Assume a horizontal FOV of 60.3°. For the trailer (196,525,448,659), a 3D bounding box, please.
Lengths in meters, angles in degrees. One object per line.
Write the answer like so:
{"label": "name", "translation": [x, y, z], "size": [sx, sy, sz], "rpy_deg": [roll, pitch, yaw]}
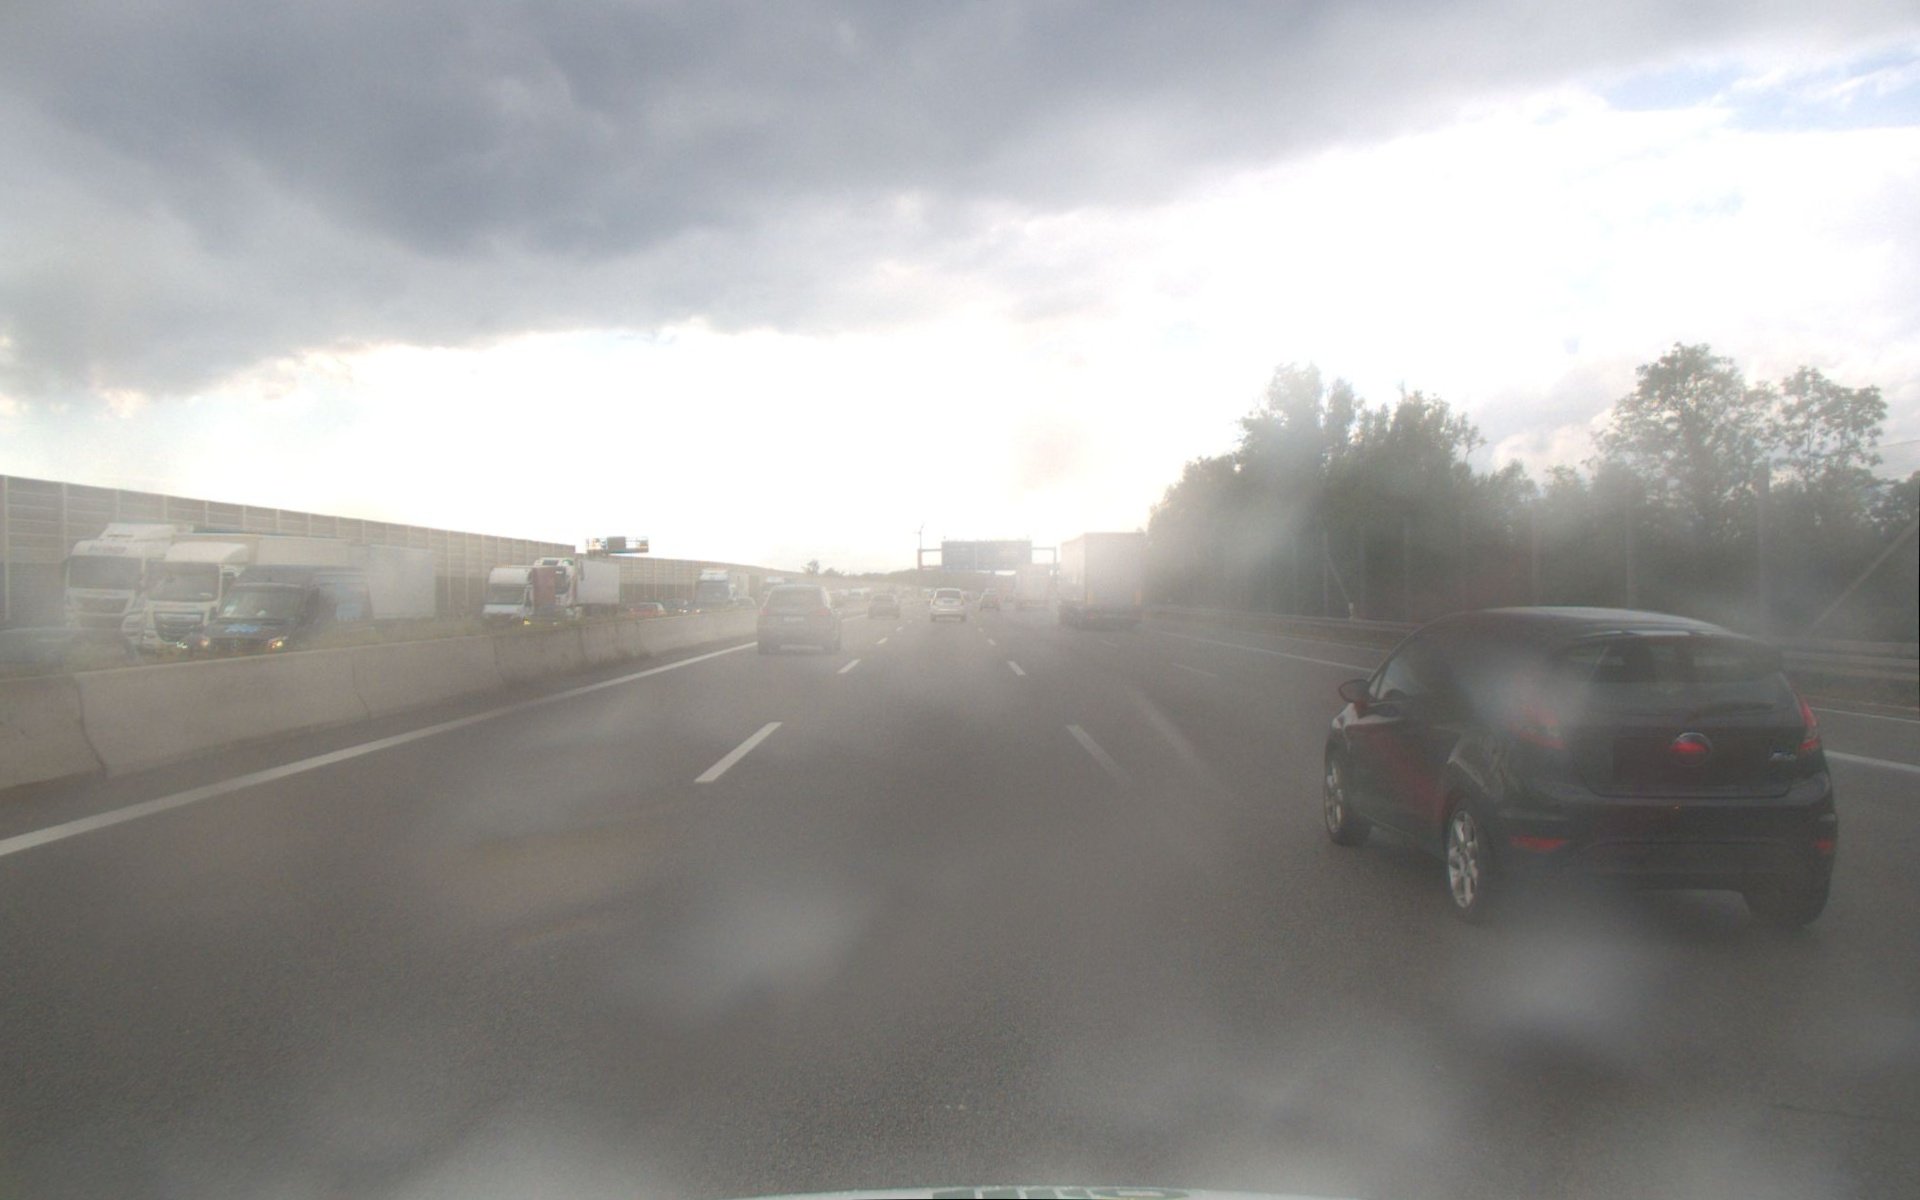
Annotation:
{"label": "trailer", "translation": [-21.775, -0.296, 57.922], "size": [3.016, 4.003, 14.981], "rpy_deg": [1, 0, 0]}

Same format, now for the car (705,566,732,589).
{"label": "car", "translation": [-22.211, -2.049, 152.228], "size": [1.953, 2.049, 3.999], "rpy_deg": [1, 0, -1]}

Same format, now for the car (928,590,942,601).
{"label": "car", "translation": [-3.518, -0.668, 229.255], "size": [1.737, 1.466, 3.871], "rpy_deg": [1, 1, -4]}

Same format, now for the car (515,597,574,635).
{"label": "car", "translation": [-18.097, 0.680, 72.231], "size": [1.629, 1.561, 3.887], "rpy_deg": [1, 0, -1]}

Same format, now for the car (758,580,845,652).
{"label": "car", "translation": [-3.992, 0.372, 42.333], "size": [1.870, 1.720, 5.167], "rpy_deg": [0, 0, -2]}

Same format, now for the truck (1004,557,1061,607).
{"label": "truck", "translation": [6.485, -1.642, 149.986], "size": [4.158, 4.249, 11.984], "rpy_deg": [1, 0, -2]}

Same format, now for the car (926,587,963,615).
{"label": "car", "translation": [-0.851, 0.048, 89.149], "size": [1.737, 1.466, 4.052], "rpy_deg": [1, 1, -4]}

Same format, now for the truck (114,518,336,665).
{"label": "truck", "translation": [-21.752, -0.258, 49.591], "size": [3.016, 4.003, 8.053], "rpy_deg": [1, 0, 0]}

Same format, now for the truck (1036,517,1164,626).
{"label": "truck", "translation": [6.062, -1.225, 74.537], "size": [4.096, 4.363, 12.606], "rpy_deg": [1, 0, -3]}

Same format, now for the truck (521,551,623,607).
{"label": "truck", "translation": [-25.774, -1.344, 111.019], "size": [3.200, 3.410, 16.082], "rpy_deg": [1, 0, -1]}

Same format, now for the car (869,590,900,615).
{"label": "car", "translation": [-4.433, 0.111, 96.915], "size": [1.726, 1.393, 5.056], "rpy_deg": [1, 1, -4]}

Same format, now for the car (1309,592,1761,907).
{"label": "car", "translation": [3.042, 0.699, 9.362], "size": [1.417, 1.466, 3.163], "rpy_deg": [0, 0, -1]}

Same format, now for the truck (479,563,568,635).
{"label": "truck", "translation": [-21.713, -0.070, 82.638], "size": [2.274, 3.406, 8.352], "rpy_deg": [1, 0, -1]}

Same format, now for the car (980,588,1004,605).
{"label": "car", "translation": [2.773, -0.320, 143.509], "size": [1.799, 1.466, 4.054], "rpy_deg": [1, 1, -2]}

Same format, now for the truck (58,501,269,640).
{"label": "truck", "translation": [-25.899, -0.930, 54.386], "size": [2.655, 4.146, 8.913], "rpy_deg": [1, 0, -1]}

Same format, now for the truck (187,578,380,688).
{"label": "truck", "translation": [-15.124, 0.676, 37.415], "size": [1.953, 2.250, 5.923], "rpy_deg": [1, 0, -1]}
